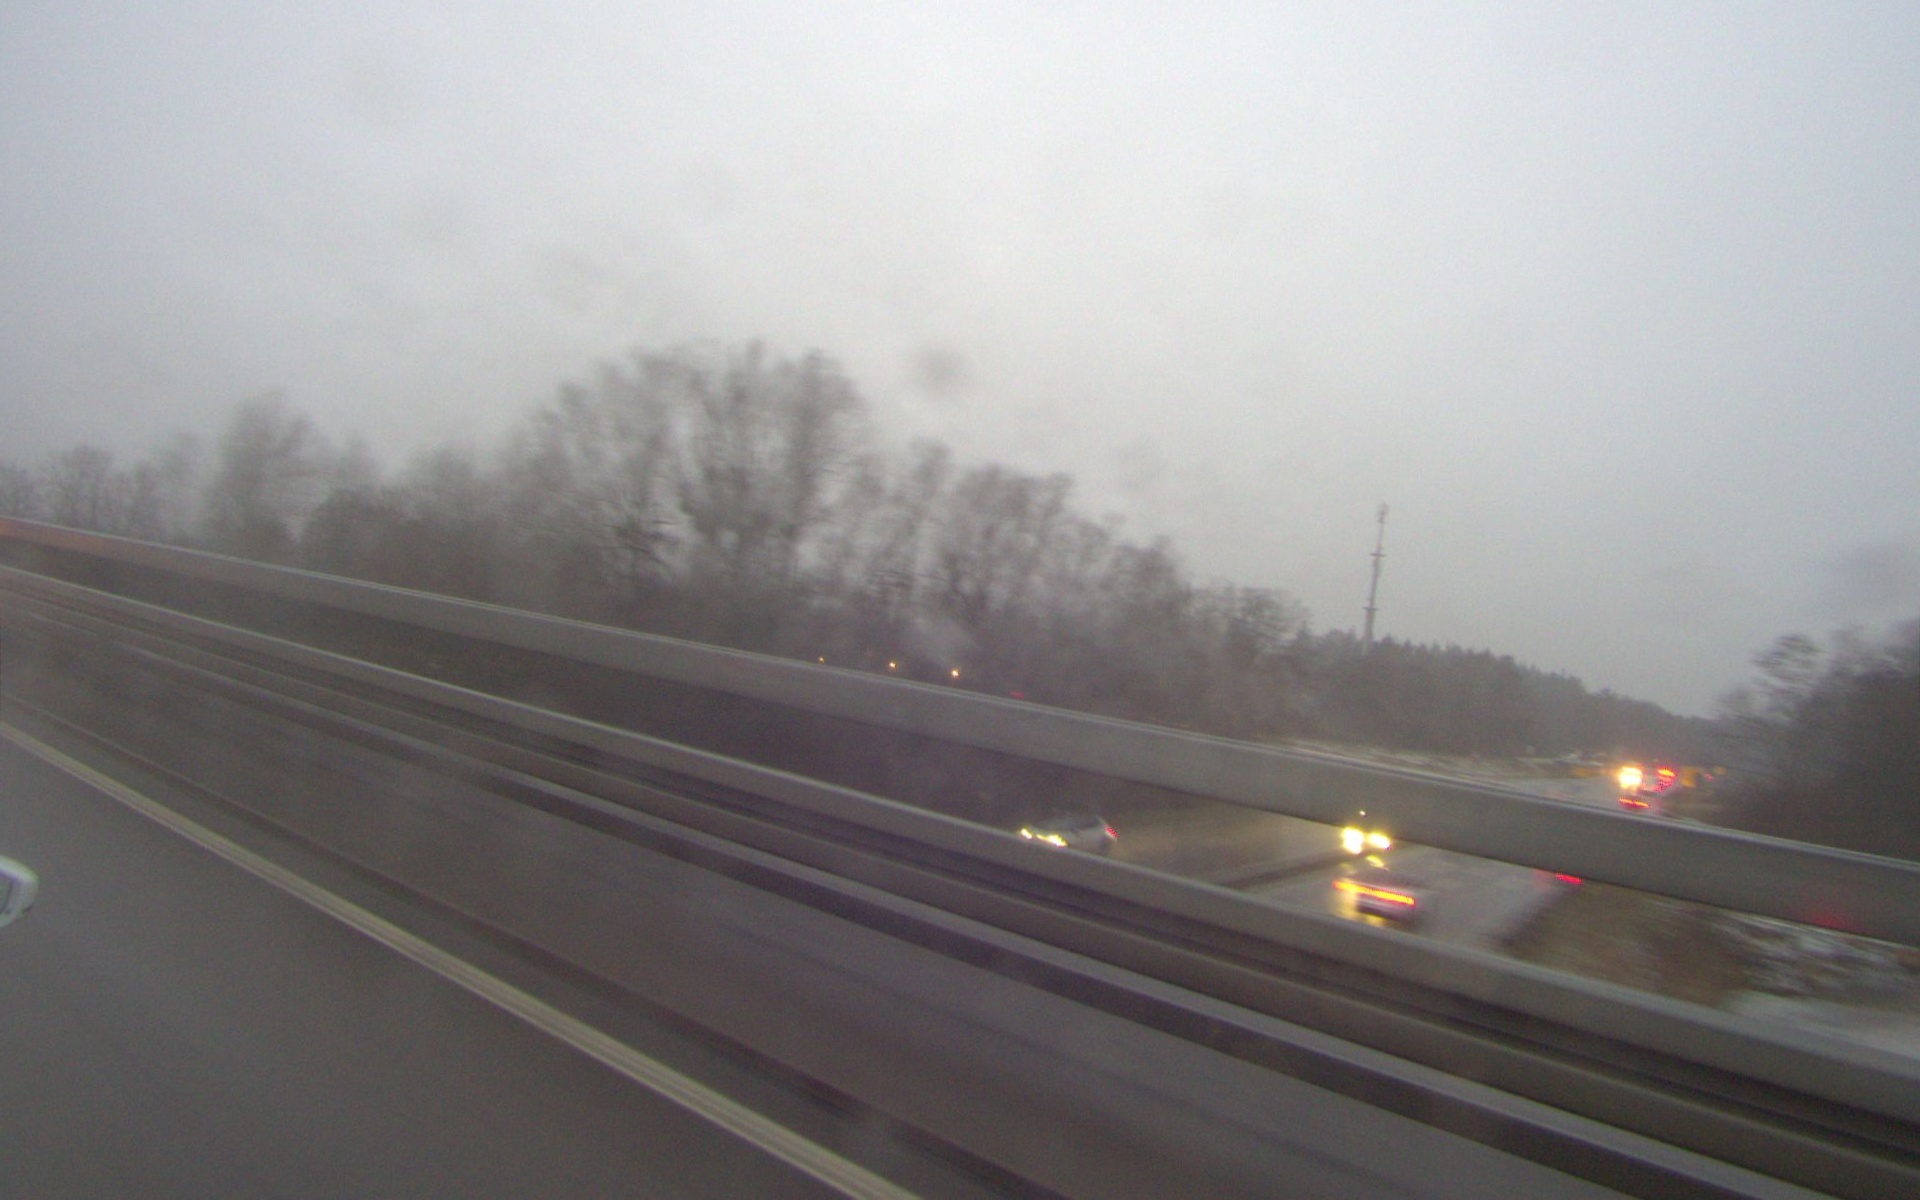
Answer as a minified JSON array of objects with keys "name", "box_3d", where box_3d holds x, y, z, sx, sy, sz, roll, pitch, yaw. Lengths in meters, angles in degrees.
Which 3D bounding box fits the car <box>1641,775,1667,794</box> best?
[{"name":"car","box_3d":[95.898,25.465,138.988,2.224,2.038,5.687,7,-1,42]}]

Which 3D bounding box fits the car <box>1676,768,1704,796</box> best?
[{"name":"car","box_3d":[109.277,27.224,150.537,2.511,3.423,6.631,7,-1,41]}]

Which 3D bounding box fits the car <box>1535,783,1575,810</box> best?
[{"name":"car","box_3d":[56.789,18.710,95.933,1.973,2.036,5.688,8,-2,43]}]

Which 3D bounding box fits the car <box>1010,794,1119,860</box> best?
[{"name":"car","box_3d":[4.772,10.030,44.906,1.970,2.038,5.694,7,-1,38]}]

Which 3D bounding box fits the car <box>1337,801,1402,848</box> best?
[{"name":"car","box_3d":[25.412,13.858,62.316,1.971,2.038,5.691,7,-1,39]}]

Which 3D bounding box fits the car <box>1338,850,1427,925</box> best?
[{"name":"car","box_3d":[14.861,10.025,35.297,1.765,1.657,3.977,8,-1,38]}]
